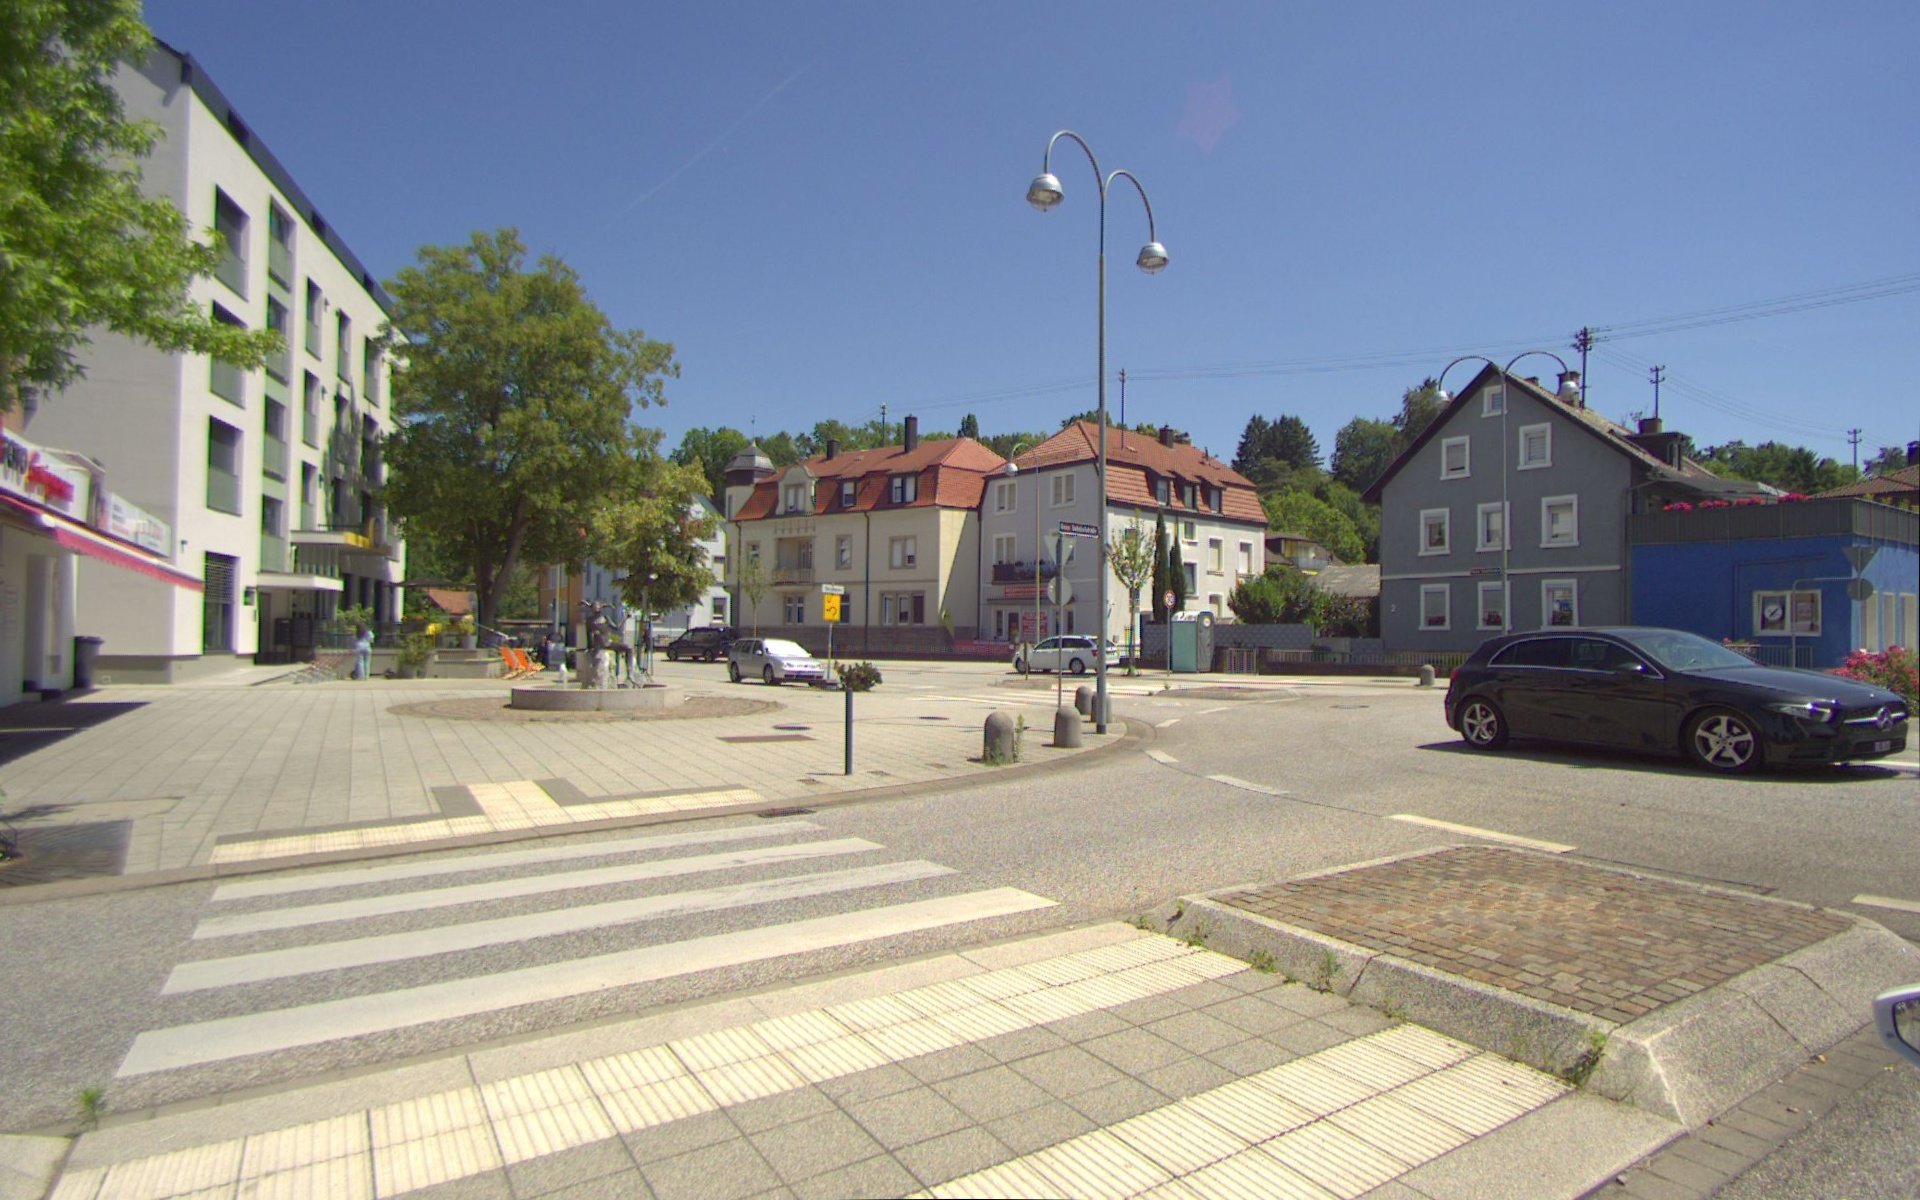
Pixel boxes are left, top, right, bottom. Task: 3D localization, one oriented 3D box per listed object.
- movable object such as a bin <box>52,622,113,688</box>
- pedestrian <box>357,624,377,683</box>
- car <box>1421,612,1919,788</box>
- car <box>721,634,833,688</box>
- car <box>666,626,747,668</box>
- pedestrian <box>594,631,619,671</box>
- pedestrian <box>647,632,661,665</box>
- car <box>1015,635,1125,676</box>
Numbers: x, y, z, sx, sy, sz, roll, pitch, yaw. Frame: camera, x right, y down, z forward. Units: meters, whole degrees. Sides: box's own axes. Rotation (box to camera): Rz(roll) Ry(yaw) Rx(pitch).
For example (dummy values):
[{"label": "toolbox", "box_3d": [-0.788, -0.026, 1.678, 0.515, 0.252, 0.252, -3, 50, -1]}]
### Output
[{"label": "movable object such as a bin", "box_3d": [-17.406, 1.073, 19.939, 0.738, 1.269, 0.831, 1, -2, -30]}, {"label": "pedestrian", "box_3d": [-16.644, 1.491, 28.174, 0.445, 1.640, 0.447, 1, -2, -34]}, {"label": "car", "box_3d": [7.503, 0.939, 11.038, 1.743, 1.476, 4.416, -1, -1, -22]}, {"label": "car", "box_3d": [-5.767, 1.849, 31.364, 1.781, 1.544, 3.956, 1, -2, -39]}, {"label": "car", "box_3d": [-13.501, 2.469, 53.465, 3.931, 2.040, 1.995, 1, 0, 33]}, {"label": "pedestrian", "box_3d": [-15.102, 2.157, 42.912, 0.938, 1.670, 0.814, 1, -2, -25]}, {"label": "pedestrian", "box_3d": [-18.971, 2.997, 62.278, 0.706, 2.040, 0.875, 0, -2, -9]}, {"label": "car", "box_3d": [4.205, 2.116, 38.819, 4.020, 1.410, 1.600, -1, 0, 42]}]
